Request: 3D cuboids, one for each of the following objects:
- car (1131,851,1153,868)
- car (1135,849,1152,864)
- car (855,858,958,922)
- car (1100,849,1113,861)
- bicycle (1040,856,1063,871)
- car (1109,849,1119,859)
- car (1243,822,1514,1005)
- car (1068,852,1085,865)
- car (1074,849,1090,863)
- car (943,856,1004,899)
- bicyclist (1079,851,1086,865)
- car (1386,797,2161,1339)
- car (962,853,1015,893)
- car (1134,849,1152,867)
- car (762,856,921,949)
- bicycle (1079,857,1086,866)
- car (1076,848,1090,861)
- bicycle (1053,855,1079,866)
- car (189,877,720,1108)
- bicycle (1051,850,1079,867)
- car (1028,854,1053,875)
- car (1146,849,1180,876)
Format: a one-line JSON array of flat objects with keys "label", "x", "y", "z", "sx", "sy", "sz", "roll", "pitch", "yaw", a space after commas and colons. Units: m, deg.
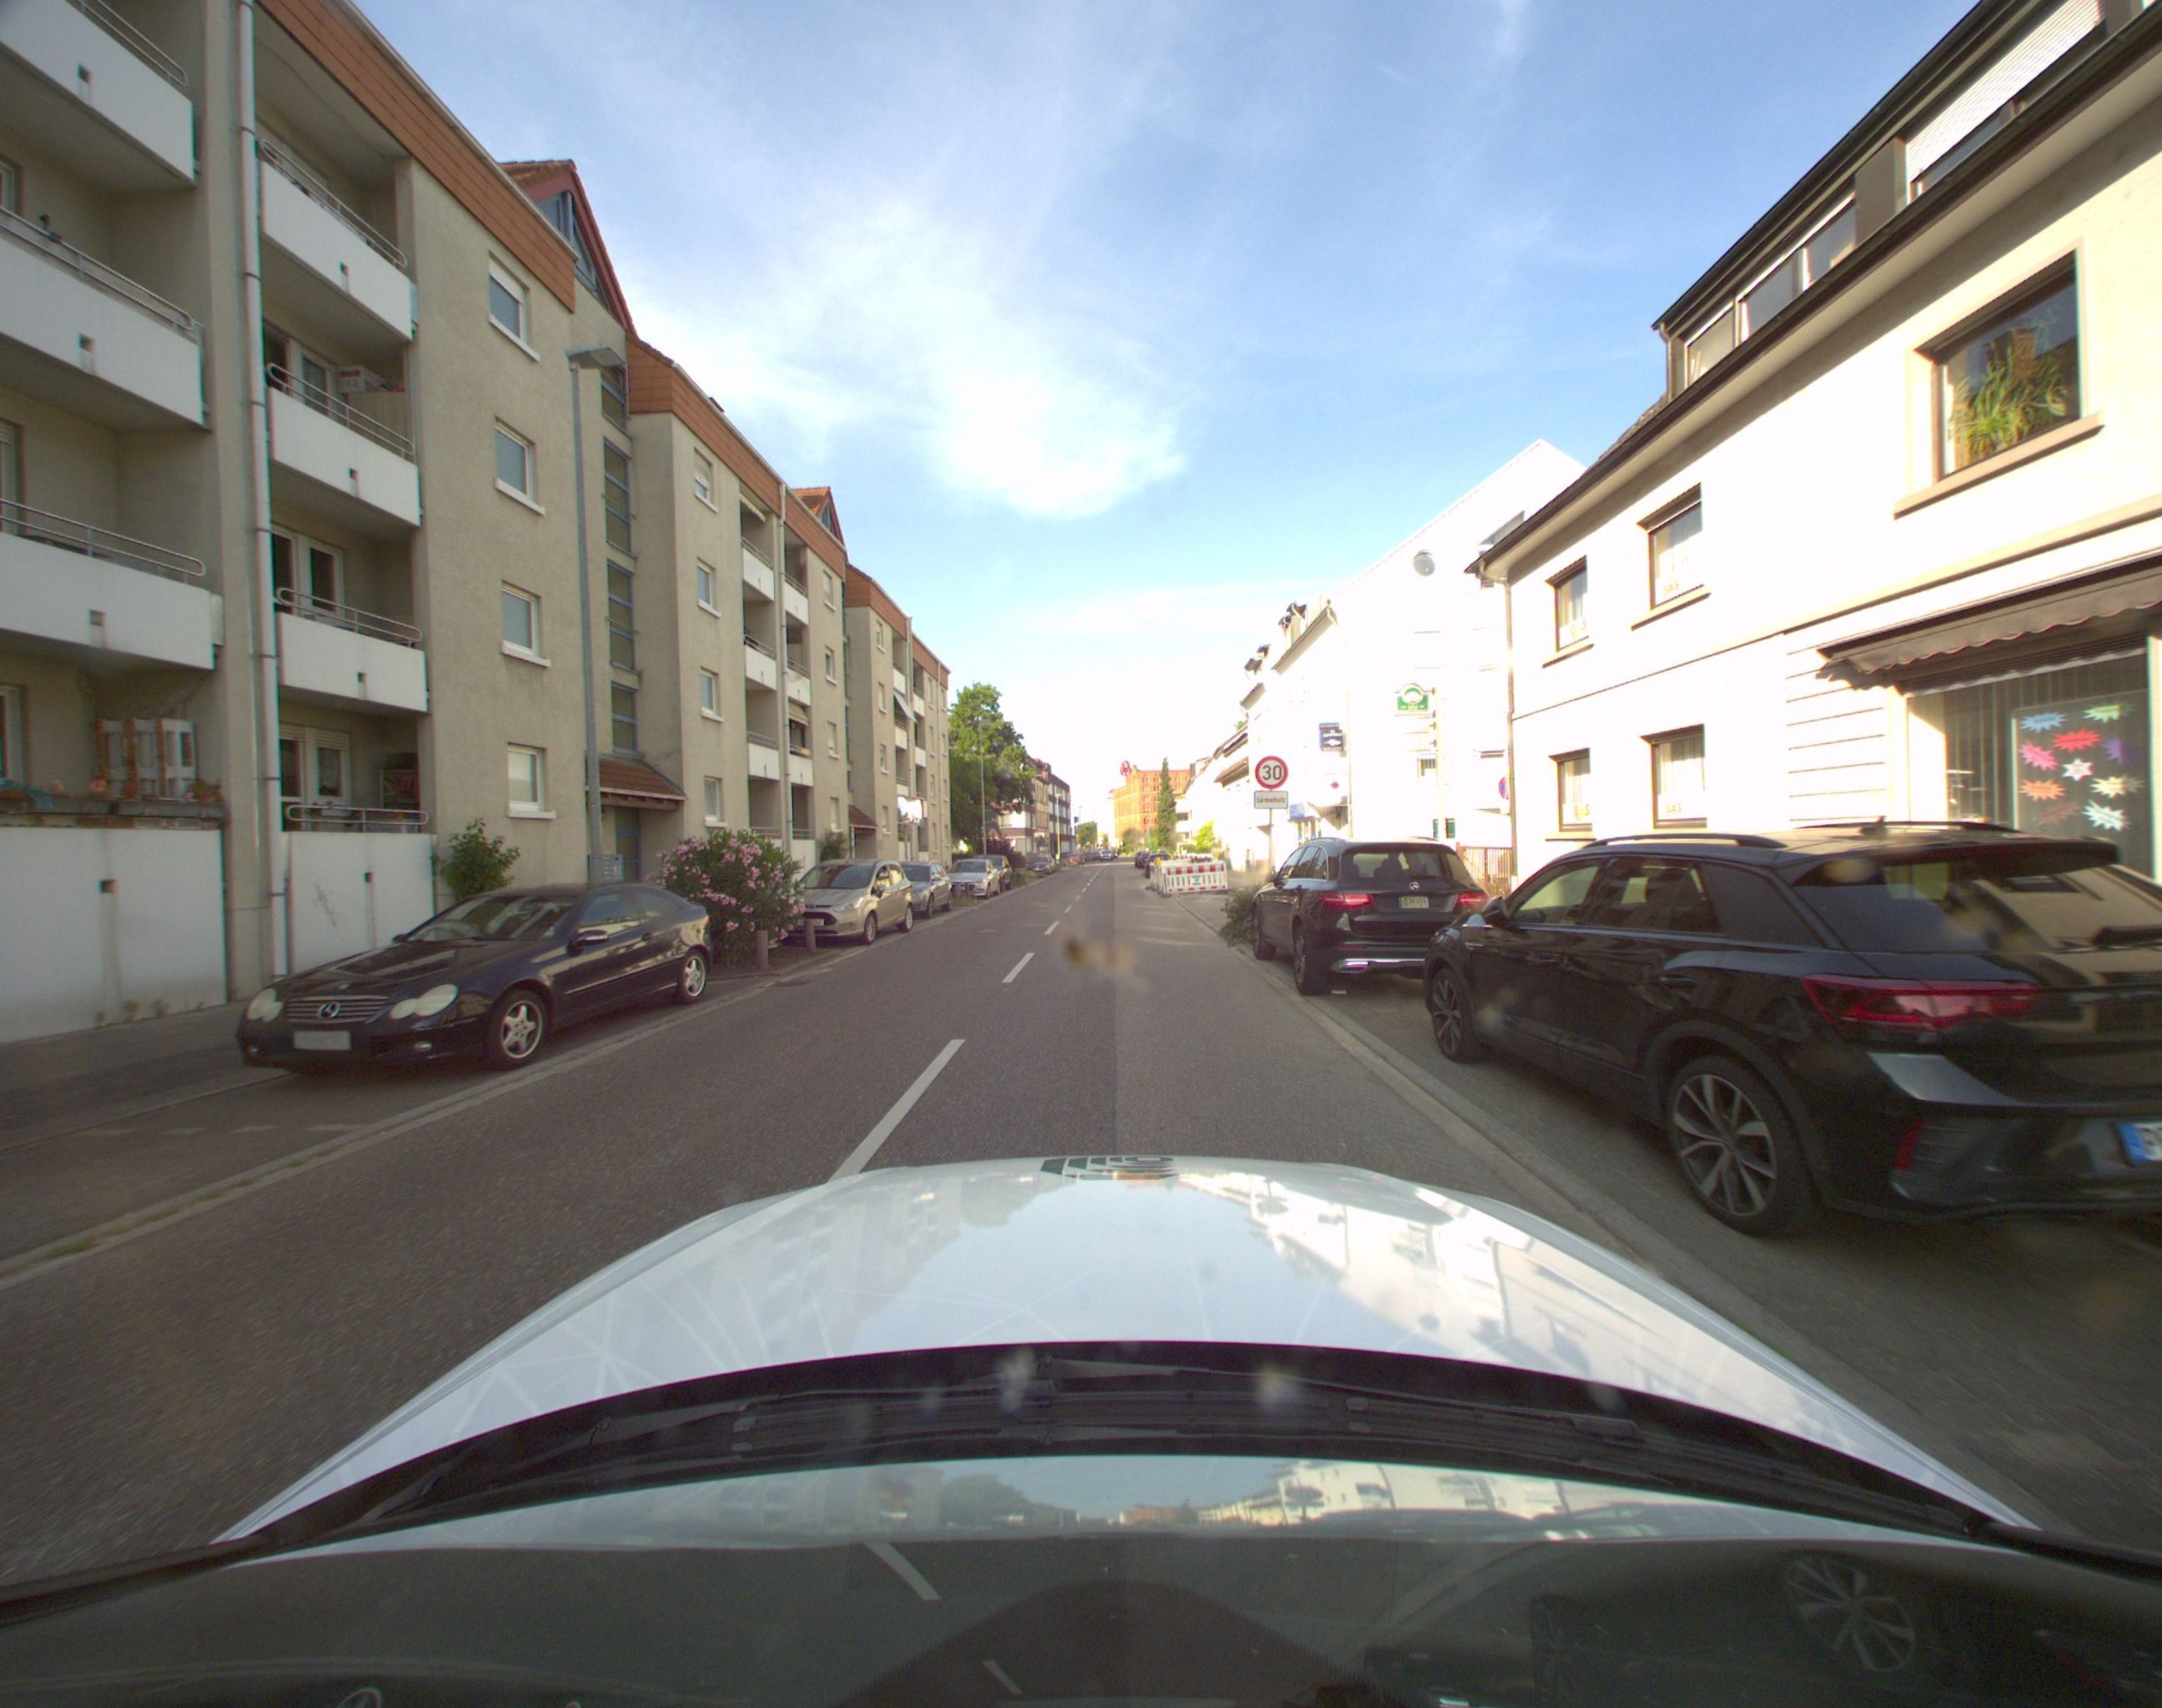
[{"label": "car", "x": 5.523, "y": 0.510, "z": 73.625, "sx": 1.852, "sy": 1.472, "sz": 4.002, "roll": 0, "pitch": 0, "yaw": 2}, {"label": "car", "x": 6.952, "y": 0.270, "z": 91.092, "sx": 1.757, "sy": 1.526, "sz": 4.002, "roll": -3, "pitch": 0, "yaw": 2}, {"label": "car", "x": -4.661, "y": 0.906, "z": 22.407, "sx": 1.801, "sy": 1.521, "sz": 4.371, "roll": -1, "pitch": 0, "yaw": 1}, {"label": "car", "x": 3.837, "y": 0.138, "z": 121.953, "sx": 1.756, "sy": 1.616, "sz": 4.002, "roll": -2, "pitch": 0, "yaw": 2}, {"label": "bicycle", "x": -2.636, "y": 0.862, "z": 72.712, "sx": 1.996, "sy": 1.217, "sz": 0.707, "roll": -2, "pitch": 0, "yaw": -4}, {"label": "car", "x": 6.112, "y": 0.000, "z": 149.499, "sx": 1.756, "sy": 1.616, "sz": 4.002, "roll": -2, "pitch": 0, "yaw": 2}, {"label": "car", "x": 3.196, "y": 0.545, "z": 9.786, "sx": 1.822, "sy": 1.630, "sz": 4.467, "roll": -2, "pitch": 0, "yaw": 4}, {"label": "car", "x": -0.495, "y": 0.526, "z": 99.152, "sx": 1.832, "sy": 1.464, "sz": 3.587, "roll": -2, "pitch": 0, "yaw": 3}, {"label": "car", "x": 0.126, "y": 0.233, "z": 115.112, "sx": 1.985, "sy": 1.911, "sz": 3.692, "roll": -2, "pitch": 0, "yaw": 3}, {"label": "car", "x": -4.010, "y": 0.830, "z": 31.006, "sx": 1.680, "sy": 1.454, "sz": 4.142, "roll": -1, "pitch": 0, "yaw": 1}, {"label": "bicyclist", "x": 0.170, "y": 0.444, "z": 88.065, "sx": 0.588, "sy": 1.442, "sz": 0.751, "roll": -2, "pitch": 0, "yaw": 3}, {"label": "car", "x": 3.407, "y": 0.597, "z": 4.543, "sx": 1.823, "sy": 1.560, "sz": 4.318, "roll": -2, "pitch": 0, "yaw": 1}, {"label": "car", "x": -4.058, "y": 0.798, "z": 36.265, "sx": 1.679, "sy": 1.603, "sz": 4.372, "roll": -1, "pitch": 0, "yaw": 2}, {"label": "car", "x": 5.971, "y": 0.375, "z": 79.045, "sx": 1.595, "sy": 1.646, "sz": 3.687, "roll": -1, "pitch": 0, "yaw": 2}, {"label": "car", "x": -4.580, "y": 0.849, "z": 16.185, "sx": 1.719, "sy": 1.555, "sz": 3.969, "roll": -1, "pitch": 0, "yaw": 4}, {"label": "bicycle", "x": 0.183, "y": 0.787, "z": 88.061, "sx": 0.606, "sy": 0.942, "sz": 1.813, "roll": -3, "pitch": 0, "yaw": 4}, {"label": "car", "x": 0.324, "y": 0.021, "z": 126.030, "sx": 1.985, "sy": 1.881, "sz": 4.003, "roll": -2, "pitch": 0, "yaw": 3}, {"label": "bicycle", "x": -1.683, "y": 0.746, "z": 91.310, "sx": 2.761, "sy": 1.144, "sz": 1.144, "roll": -2, "pitch": 0, "yaw": 3}, {"label": "car", "x": -5.170, "y": 0.999, "z": 7.585, "sx": 1.680, "sy": 1.405, "sz": 4.085, "roll": -1, "pitch": 0, "yaw": 1}, {"label": "bicycle", "x": -1.778, "y": 0.451, "z": 89.539, "sx": 2.905, "sy": 1.777, "sz": 1.203, "roll": -2, "pitch": 0, "yaw": 3}, {"label": "car", "x": -2.984, "y": 0.757, "z": 60.773, "sx": 1.567, "sy": 1.420, "sz": 3.805, "roll": -1, "pitch": 0, "yaw": 2}, {"label": "car", "x": 4.958, "y": 0.504, "z": 49.630, "sx": 1.822, "sy": 1.482, "sz": 3.946, "roll": -2, "pitch": 0, "yaw": 3}]
